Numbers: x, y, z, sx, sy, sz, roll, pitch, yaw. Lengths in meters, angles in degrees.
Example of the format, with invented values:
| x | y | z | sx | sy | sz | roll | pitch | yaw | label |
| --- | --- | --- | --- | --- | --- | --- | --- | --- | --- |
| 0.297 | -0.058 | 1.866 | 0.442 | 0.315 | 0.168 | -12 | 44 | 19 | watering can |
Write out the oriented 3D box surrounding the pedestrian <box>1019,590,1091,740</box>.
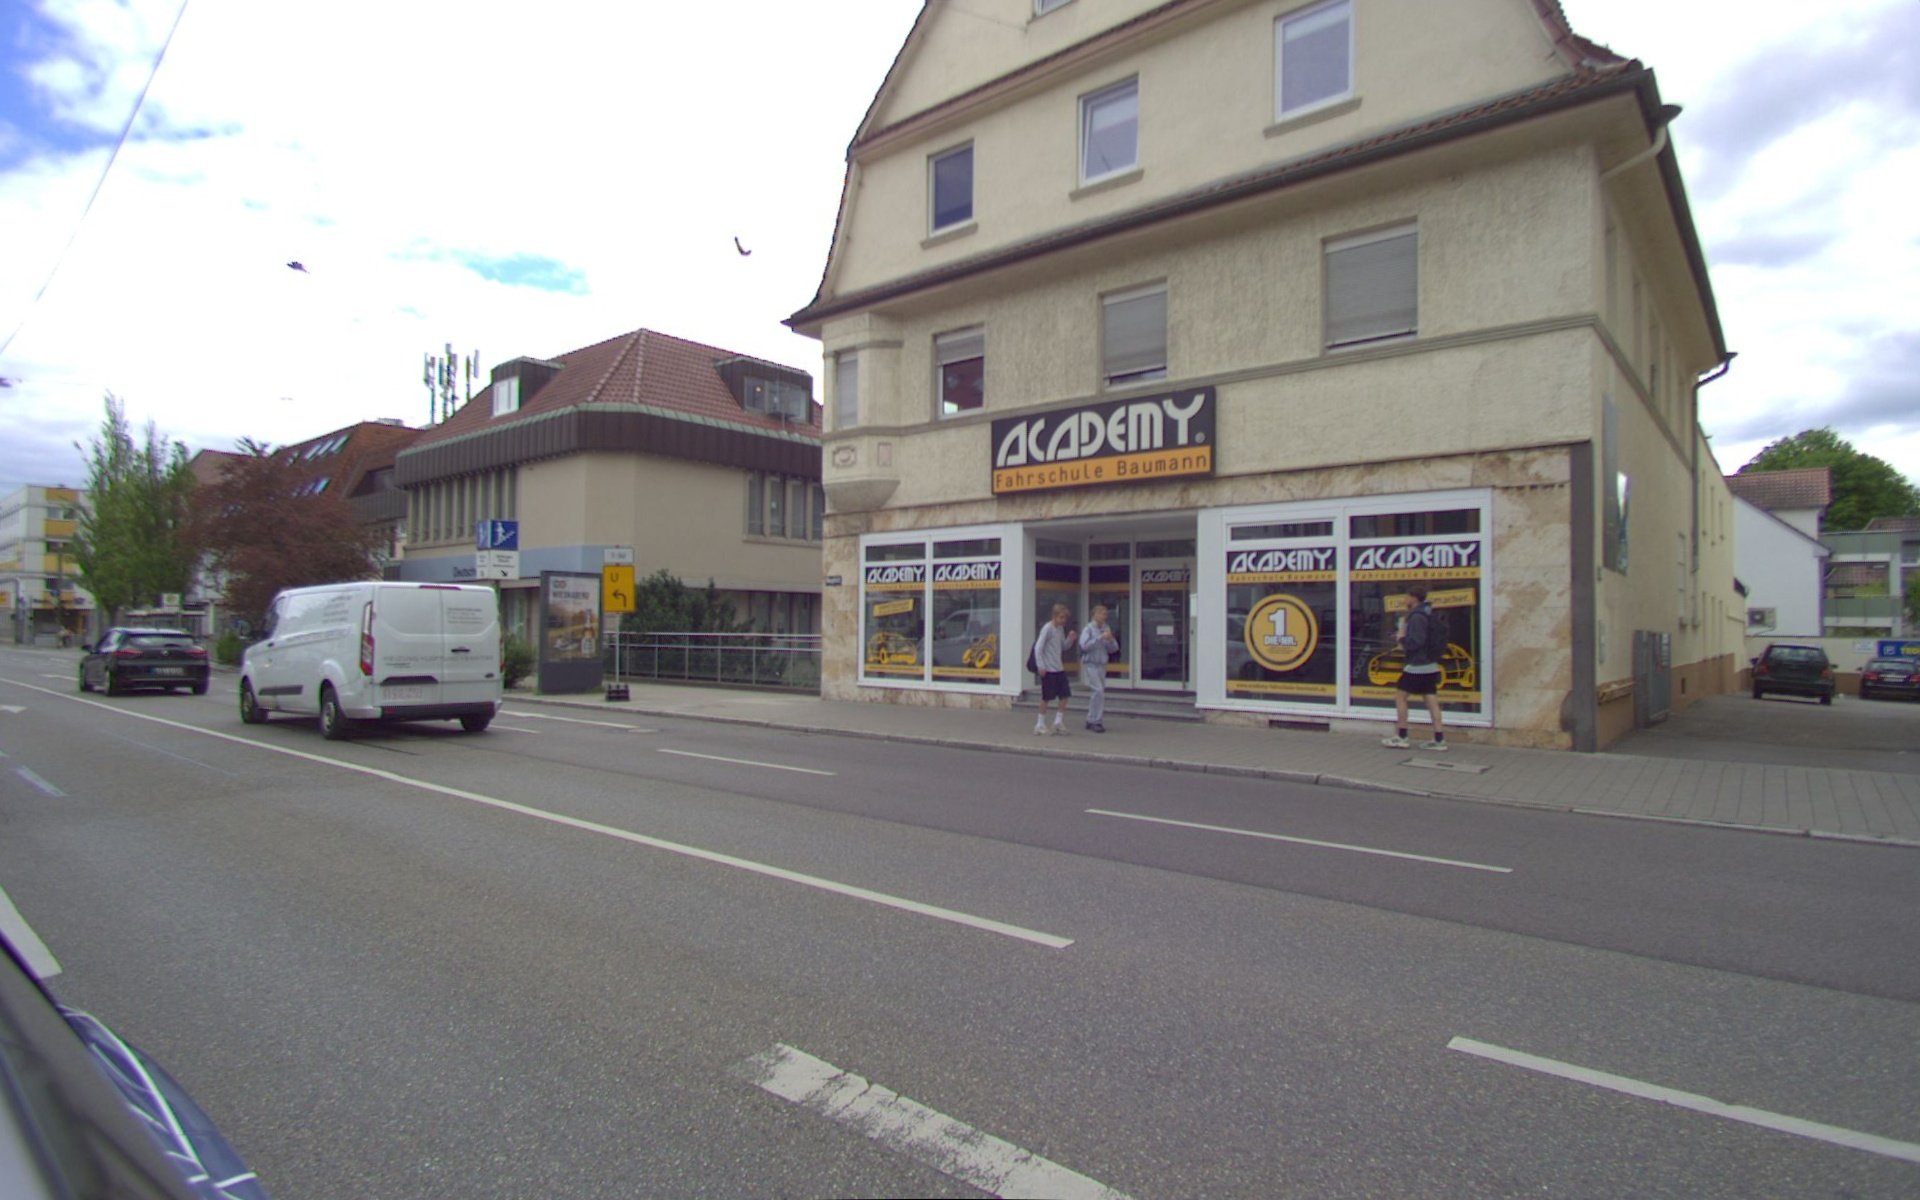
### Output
| x | y | z | sx | sy | sz | roll | pitch | yaw | label |
| --- | --- | --- | --- | --- | --- | --- | --- | --- | --- |
| 1.220 | 0.818 | 12.928 | 0.680 | 1.838 | 0.627 | -2 | -3 | 40 | pedestrian |

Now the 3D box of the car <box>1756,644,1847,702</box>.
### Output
| x | y | z | sx | sy | sz | roll | pitch | yaw | label |
| --- | --- | --- | --- | --- | --- | --- | --- | --- | --- |
| 22.757 | 2.004 | 27.450 | 1.765 | 1.439 | 3.871 | -1 | -5 | 39 | car |

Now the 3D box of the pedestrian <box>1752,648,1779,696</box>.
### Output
| x | y | z | sx | sy | sz | roll | pitch | yaw | label |
| --- | --- | --- | --- | --- | --- | --- | --- | --- | --- |
| 30.573 | 2.716 | 38.395 | 0.736 | 1.760 | 0.796 | -2 | 0 | 39 | pedestrian |

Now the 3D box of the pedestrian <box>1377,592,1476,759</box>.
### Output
| x | y | z | sx | sy | sz | roll | pitch | yaw | label |
| --- | --- | --- | --- | --- | --- | --- | --- | --- | --- |
| 5.226 | 0.814 | 11.325 | 0.804 | 1.760 | 0.859 | -2 | 0 | 36 | pedestrian |

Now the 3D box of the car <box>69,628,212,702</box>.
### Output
| x | y | z | sx | sy | sz | roll | pitch | yaw | label |
| --- | --- | --- | --- | --- | --- | --- | --- | --- | --- |
| -17.715 | 1.354 | 21.828 | 3.918 | 1.439 | 1.601 | -2 | -3 | 39 | car |

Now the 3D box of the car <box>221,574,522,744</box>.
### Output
| x | y | z | sx | sy | sz | roll | pitch | yaw | label |
| --- | --- | --- | --- | --- | --- | --- | --- | --- | --- |
| -8.369 | 0.783 | 14.183 | 5.135 | 1.976 | 1.942 | -1 | -4 | 40 | car |

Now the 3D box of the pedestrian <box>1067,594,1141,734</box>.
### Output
| x | y | z | sx | sy | sz | roll | pitch | yaw | label |
| --- | --- | --- | --- | --- | --- | --- | --- | --- | --- |
| 1.901 | 0.825 | 13.323 | 0.680 | 1.775 | 0.680 | -2 | -1 | 40 | pedestrian |

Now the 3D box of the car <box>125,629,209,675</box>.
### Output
| x | y | z | sx | sy | sz | roll | pitch | yaw | label |
| --- | --- | --- | --- | --- | --- | --- | --- | --- | --- |
| -27.488 | 1.790 | 35.061 | 3.505 | 1.535 | 1.600 | -2 | -4 | 41 | car |

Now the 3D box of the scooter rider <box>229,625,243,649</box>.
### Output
| x | y | z | sx | sy | sz | roll | pitch | yaw | label |
| --- | --- | --- | --- | --- | --- | --- | --- | --- | --- |
| -51.475 | 2.638 | 71.956 | 0.587 | 1.725 | 0.607 | -2 | 0 | 37 | scooter rider |

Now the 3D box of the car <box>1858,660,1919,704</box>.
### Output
| x | y | z | sx | sy | sz | roll | pitch | yaw | label |
| --- | --- | --- | --- | --- | --- | --- | --- | --- | --- |
| 33.362 | 2.899 | 36.080 | 1.765 | 1.439 | 3.871 | -2 | -3 | 39 | car |
